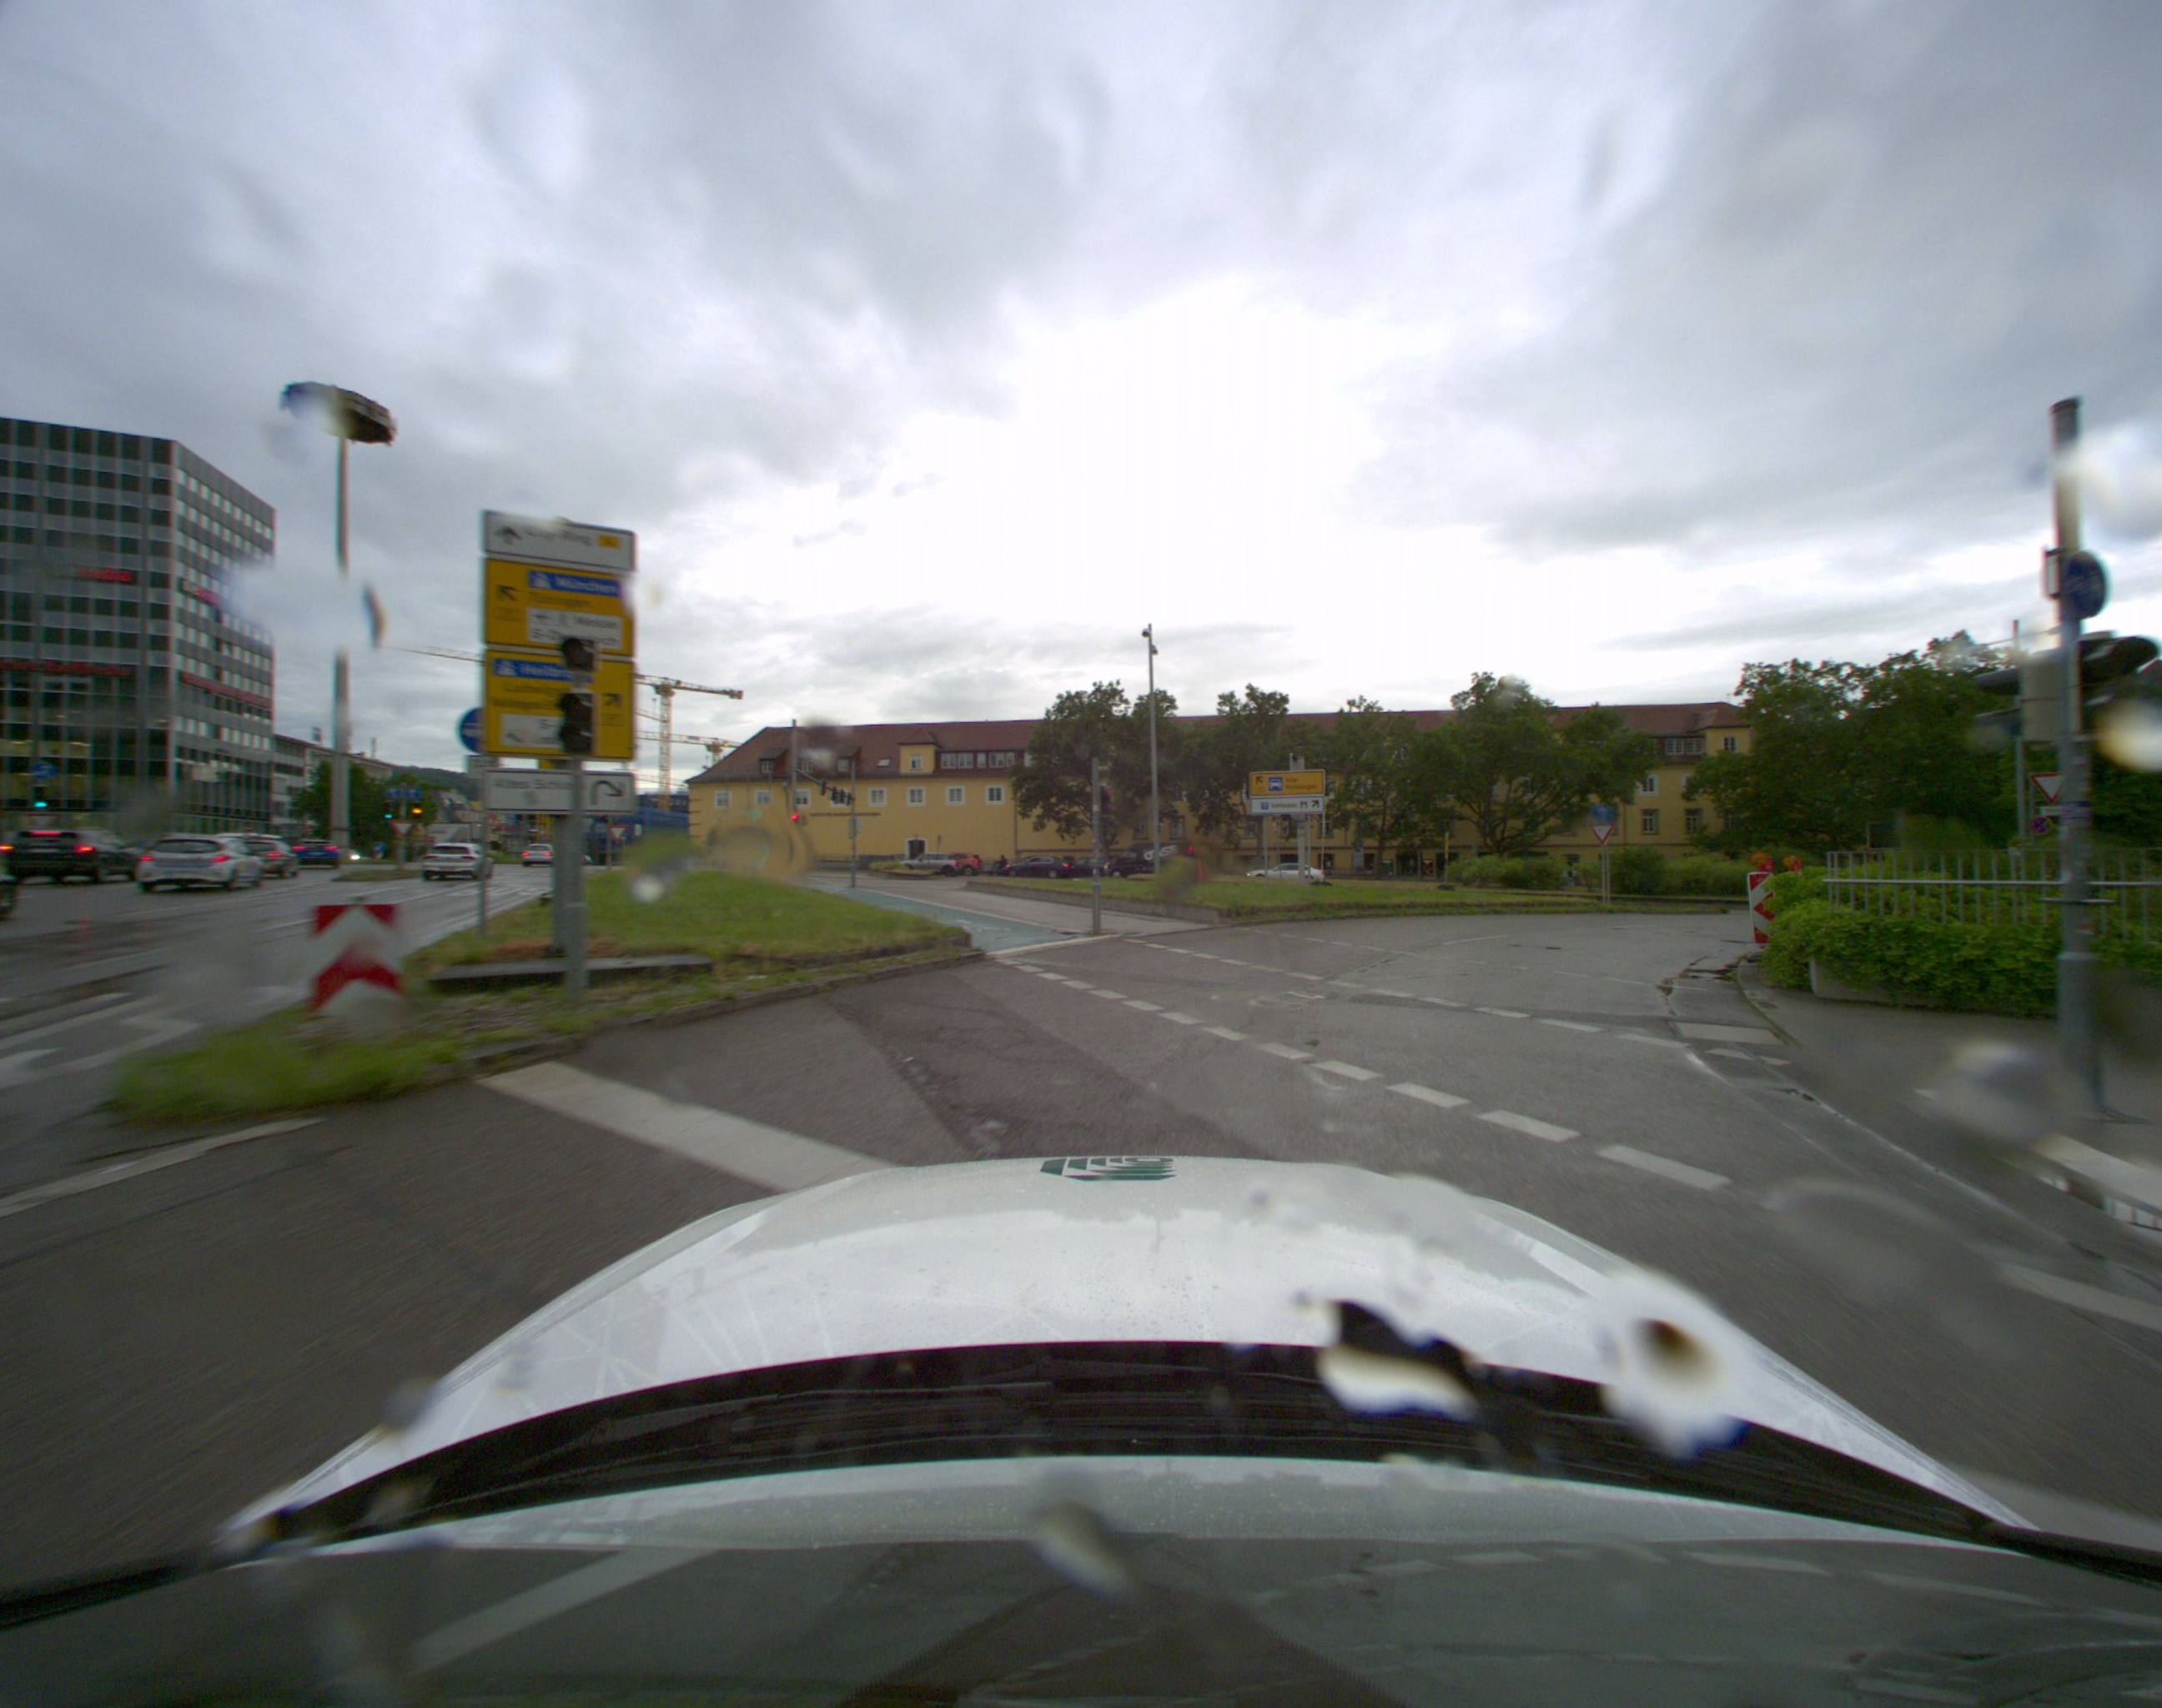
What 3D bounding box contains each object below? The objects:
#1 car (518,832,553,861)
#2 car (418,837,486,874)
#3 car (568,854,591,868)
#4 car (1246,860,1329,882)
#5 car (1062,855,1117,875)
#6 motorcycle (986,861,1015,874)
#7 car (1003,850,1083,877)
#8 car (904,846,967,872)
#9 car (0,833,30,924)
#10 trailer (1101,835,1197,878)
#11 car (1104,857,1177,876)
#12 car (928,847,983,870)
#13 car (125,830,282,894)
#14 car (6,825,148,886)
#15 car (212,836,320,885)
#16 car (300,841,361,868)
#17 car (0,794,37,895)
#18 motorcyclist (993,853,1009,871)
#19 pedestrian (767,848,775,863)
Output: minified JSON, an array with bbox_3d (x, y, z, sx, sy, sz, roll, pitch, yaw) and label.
[{"bbox_3d":[-35.386,-0.515,52.894,1.678,1.741,3.255,2,1,-31],"label":"car"},{"bbox_3d":[-24.491,0.087,31.793,1.450,1.359,2.394,2,-2,-22],"label":"car"},{"bbox_3d":[-53.939,0.771,87.562,1.723,1.365,3.042,2,-2,-25],"label":"car"},{"bbox_3d":[13.845,1.136,54.818,5.257,1.361,1.560,1,-2,7],"label":"car"},{"bbox_3d":[0.589,0.779,56.358,3.572,1.337,1.582,0,-2,11],"label":"car"},{"bbox_3d":[-5.629,0.936,57.128,1.959,0.853,0.545,1,-2,-3],"label":"motorcycle"},{"bbox_3d":[-2.472,0.639,53.106,4.764,1.709,2.009,0,-2,18],"label":"car"},{"bbox_3d":[-8.654,0.330,48.631,3.390,1.482,1.835,1,-2,0],"label":"car"},{"bbox_3d":[-18.036,0.382,11.880,1.837,1.494,3.373,2,-1,-23],"label":"car"},{"bbox_3d":[4.047,0.169,48.027,5.426,2.257,2.005,-2,-3,9],"label":"trailer"},{"bbox_3d":[3.733,0.768,51.464,4.322,1.140,1.551,0,-2,32],"label":"car"},{"bbox_3d":[-8.336,0.313,54.248,3.389,1.472,1.652,1,-2,-1],"label":"car"},{"bbox_3d":[-24.439,0.260,22.855,1.891,1.653,3.426,2,-2,-28],"label":"car"},{"bbox_3d":[-30.076,0.092,24.512,1.472,1.706,3.113,2,-2,-27],"label":"car"},{"bbox_3d":[-30.712,0.287,30.809,1.724,1.728,3.465,2,-2,-25],"label":"car"},{"bbox_3d":[-39.815,0.050,43.261,1.500,1.369,3.008,2,-2,-25],"label":"car"},{"bbox_3d":[-25.250,-0.276,16.873,2.303,2.314,4.965,2,-2,-24],"label":"car"},{"bbox_3d":[-5.596,0.565,57.085,1.073,1.273,0.691,1,-2,-4],"label":"motorcyclist"},{"bbox_3d":[-28.471,0.106,74.815,0.451,1.368,0.446,0,-2,13],"label":"pedestrian"}]
